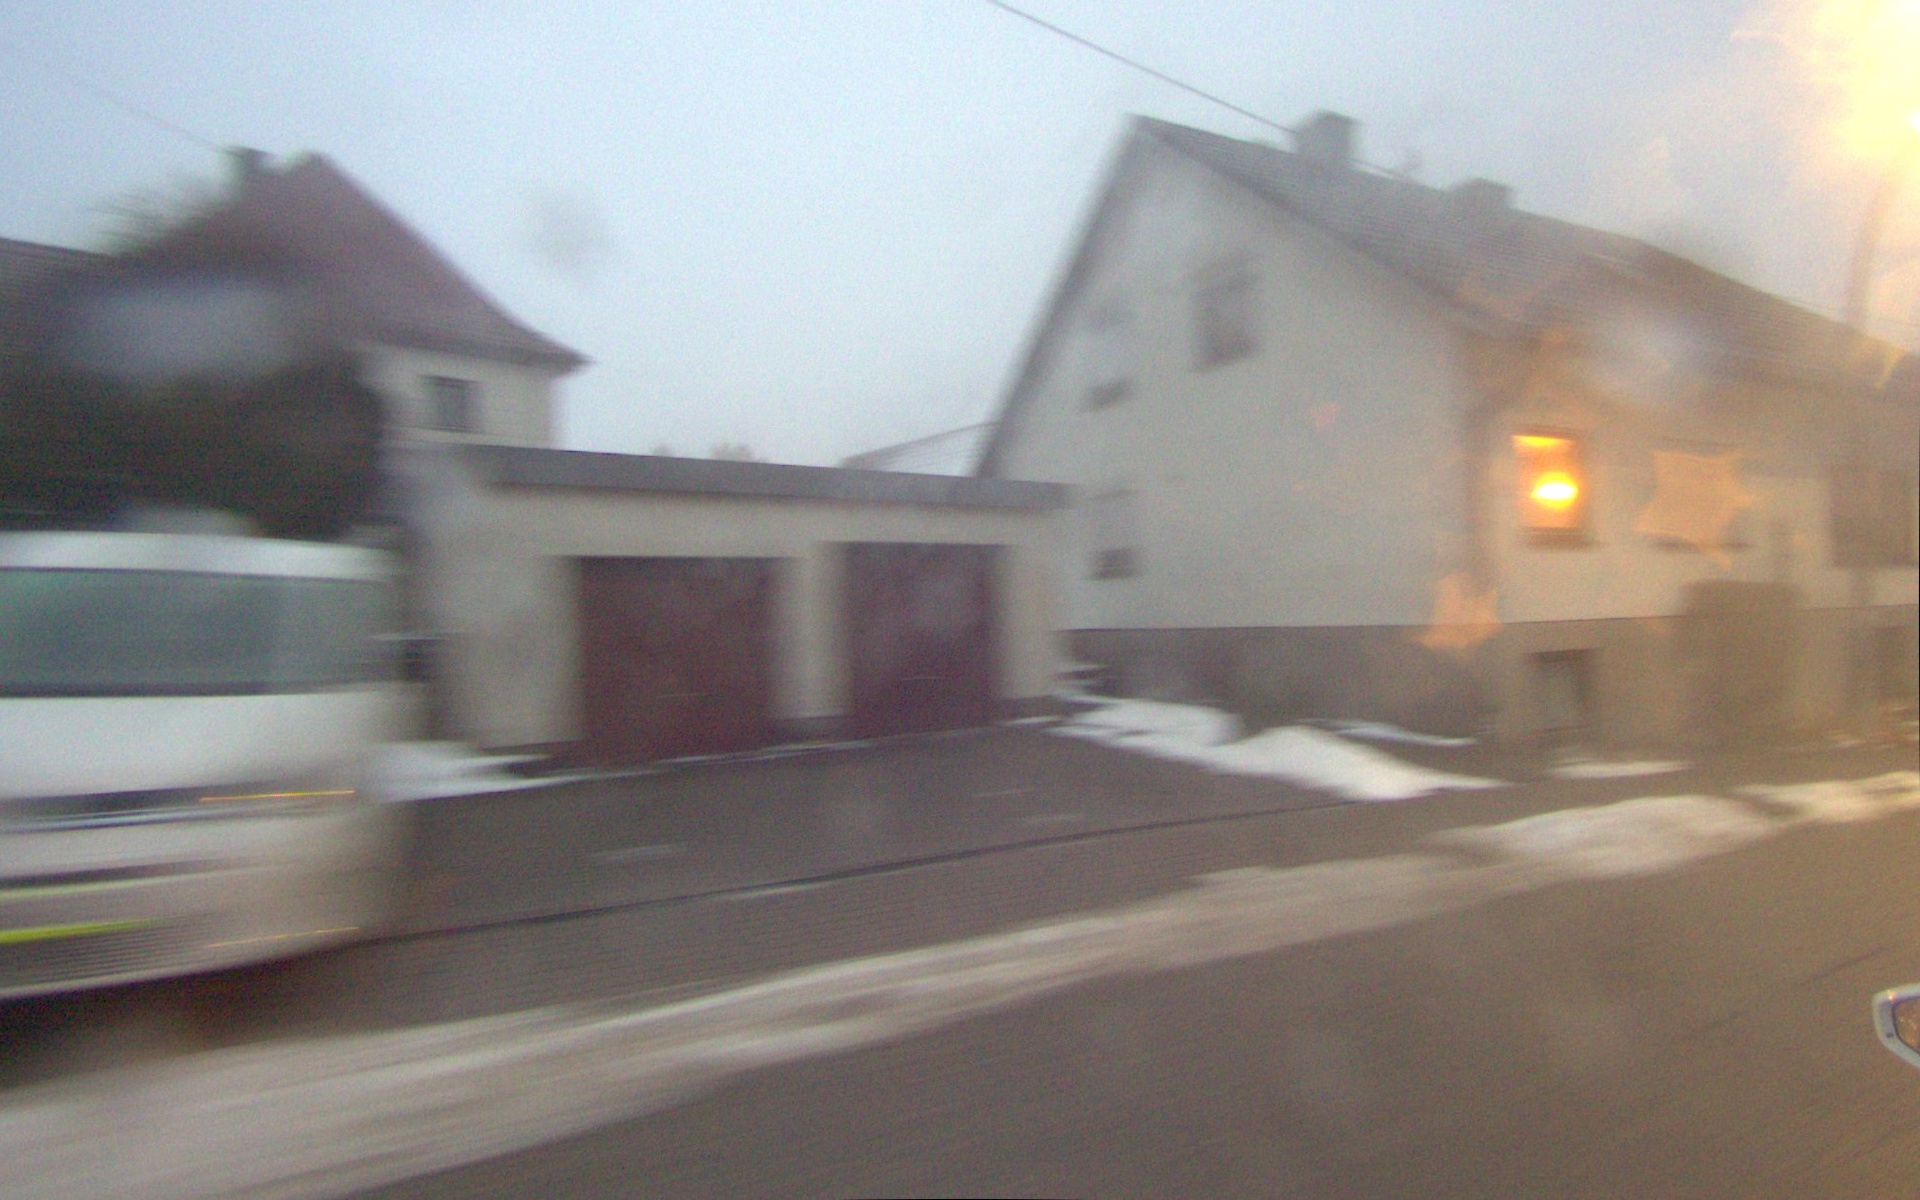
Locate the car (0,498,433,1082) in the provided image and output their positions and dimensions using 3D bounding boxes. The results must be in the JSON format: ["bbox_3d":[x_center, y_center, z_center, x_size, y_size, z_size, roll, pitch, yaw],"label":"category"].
[{"bbox_3d":[-3.826,0.610,5.064,1.865,1.688,4.777,1,-2,-26],"label":"car"}]
